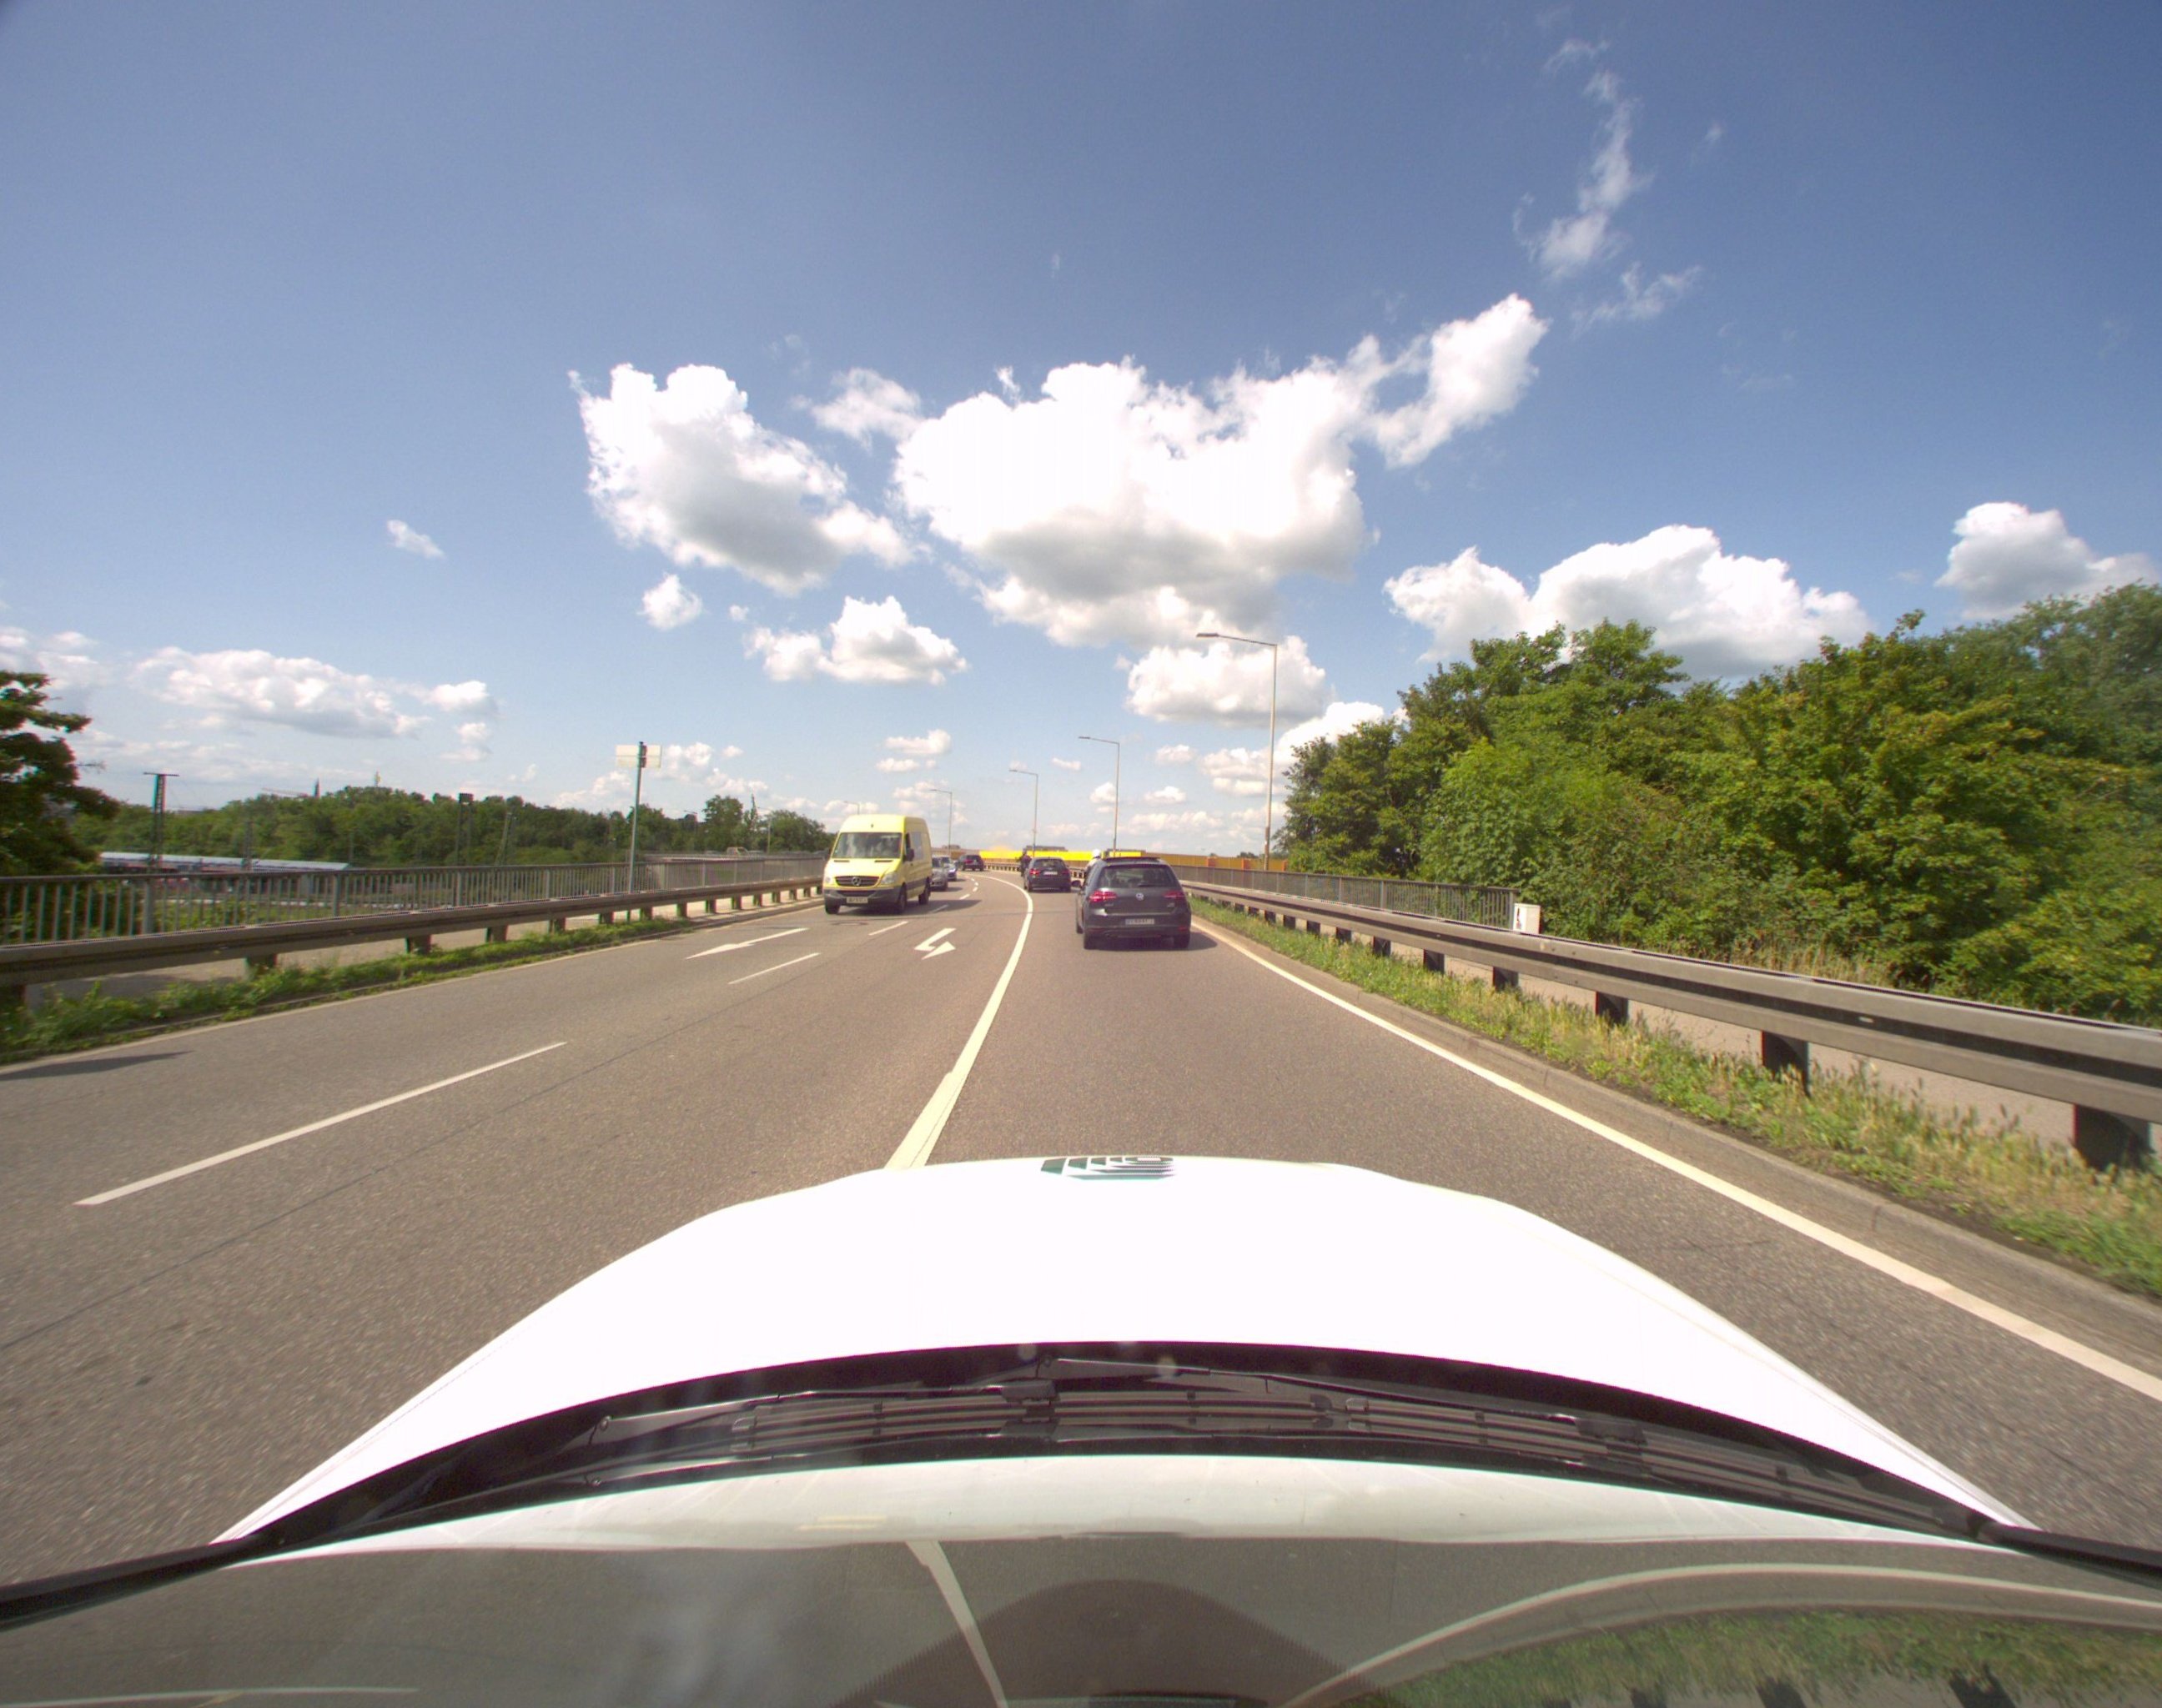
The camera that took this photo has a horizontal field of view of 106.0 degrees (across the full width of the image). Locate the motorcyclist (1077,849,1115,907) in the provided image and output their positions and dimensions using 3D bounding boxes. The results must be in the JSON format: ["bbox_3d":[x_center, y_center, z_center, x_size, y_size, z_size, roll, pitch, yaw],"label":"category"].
[{"bbox_3d":[0.436,0.684,23.641,0.964,1.620,1.123,1,-1,-5],"label":"motorcyclist"}]

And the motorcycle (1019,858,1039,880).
[{"bbox_3d":[-2.995,0.839,46.673,0.887,1.247,2.392,1,0,-9],"label":"motorcycle"}]

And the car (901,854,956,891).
[{"bbox_3d":[-6.290,0.748,33.995,1.744,1.449,4.331,0,0,-3],"label":"car"}]

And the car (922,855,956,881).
[{"bbox_3d":[-7.908,0.757,45.538,1.794,1.375,4.565,0,0,-10],"label":"car"}]

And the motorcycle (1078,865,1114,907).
[{"bbox_3d":[0.413,0.897,23.647,0.788,1.132,2.395,1,0,-5],"label":"motorcycle"}]

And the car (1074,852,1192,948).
[{"bbox_3d":[0.787,0.729,14.497,1.639,1.479,3.867,1,-1,-3],"label":"car"}]

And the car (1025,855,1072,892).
[{"bbox_3d":[-1.375,0.785,33.139,1.679,1.388,3.731,0,-1,-6],"label":"car"}]

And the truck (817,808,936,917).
[{"bbox_3d":[-5.545,0.199,22.995,1.988,2.621,6.098,-1,0,-2],"label":"truck"}]

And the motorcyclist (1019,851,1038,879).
[{"bbox_3d":[-2.998,0.633,46.791,0.965,1.596,1.121,1,-1,-9],"label":"motorcyclist"}]

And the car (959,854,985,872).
[{"bbox_3d":[-9.349,0.737,69.770,1.646,1.479,3.851,1,-1,-16],"label":"car"}]
